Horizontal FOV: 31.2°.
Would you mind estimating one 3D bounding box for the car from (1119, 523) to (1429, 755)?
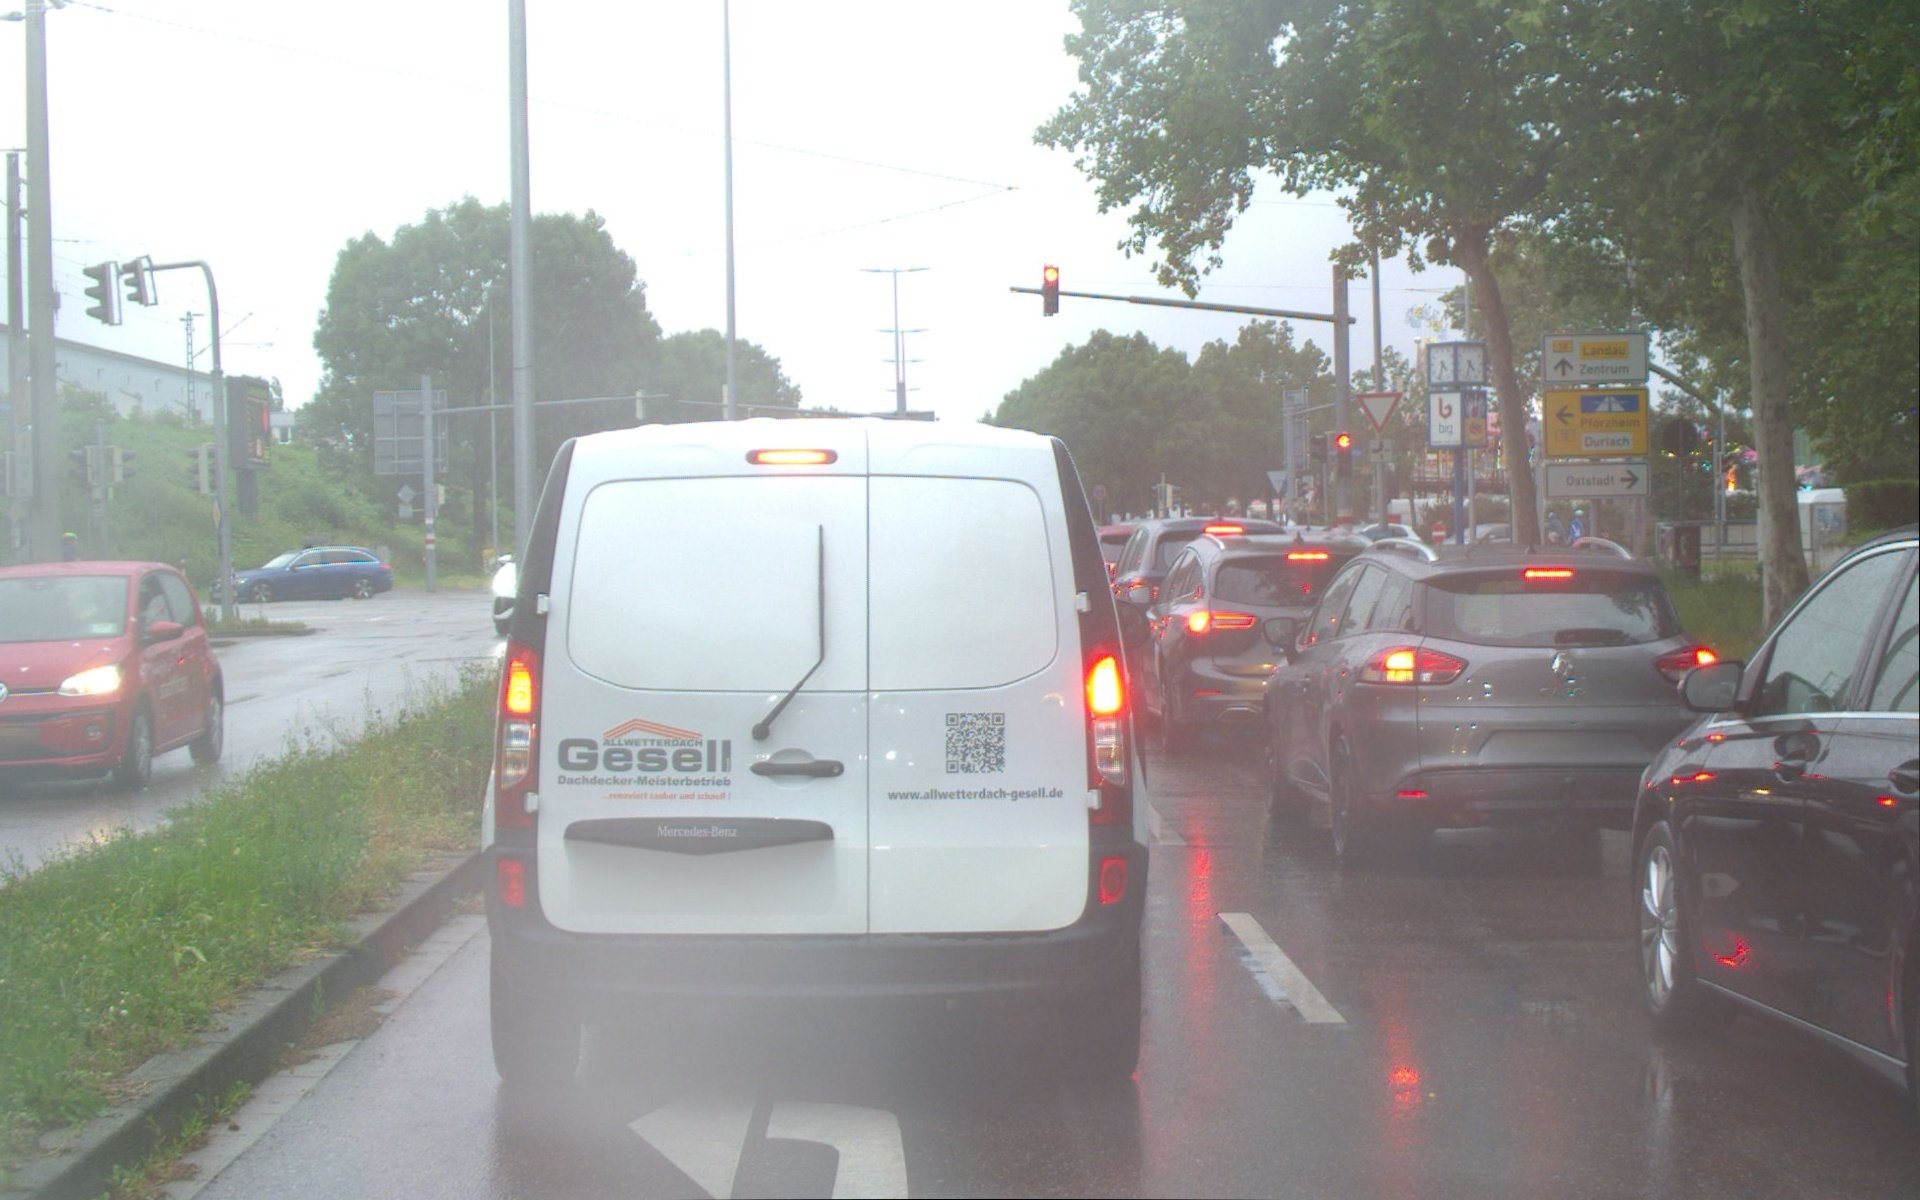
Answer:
[{"bbox_3d":[2.084,0.203,23.779,1.711,1.440,4.000,0,2,-1],"label":"car"}]

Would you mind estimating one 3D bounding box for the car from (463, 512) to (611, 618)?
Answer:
[{"bbox_3d":[-6.704,-0.592,54.893,1.962,1.520,4.335,-2,2,-2],"label":"car"}]

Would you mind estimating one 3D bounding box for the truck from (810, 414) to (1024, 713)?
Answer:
[{"bbox_3d":[-0.439,-0.328,30.234,1.756,2.458,4.000,0,1,-2],"label":"truck"}]

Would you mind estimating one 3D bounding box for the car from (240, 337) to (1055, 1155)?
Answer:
[{"bbox_3d":[-0.844,0.308,10.451,1.993,2.007,4.001,0,1,-2],"label":"car"}]

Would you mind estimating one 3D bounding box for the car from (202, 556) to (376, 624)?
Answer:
[{"bbox_3d":[-17.024,-0.269,87.245,3.934,1.520,1.775,-3,2,-26],"label":"car"}]

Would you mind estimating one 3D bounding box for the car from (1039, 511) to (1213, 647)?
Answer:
[{"bbox_3d":[1.834,-0.276,38.955,1.711,1.440,4.000,0,2,-1],"label":"car"}]

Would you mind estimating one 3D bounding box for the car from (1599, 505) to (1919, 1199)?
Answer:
[{"bbox_3d":[2.908,0.550,8.610,1.708,1.544,4.001,0,2,-2],"label":"car"}]

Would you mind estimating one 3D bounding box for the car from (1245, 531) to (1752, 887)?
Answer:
[{"bbox_3d":[2.406,0.412,16.282,1.711,1.440,4.000,0,2,-1],"label":"car"}]

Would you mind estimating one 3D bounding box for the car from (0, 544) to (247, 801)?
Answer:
[{"bbox_3d":[-6.014,0.438,22.913,1.716,1.508,3.614,-3,2,0],"label":"car"}]
